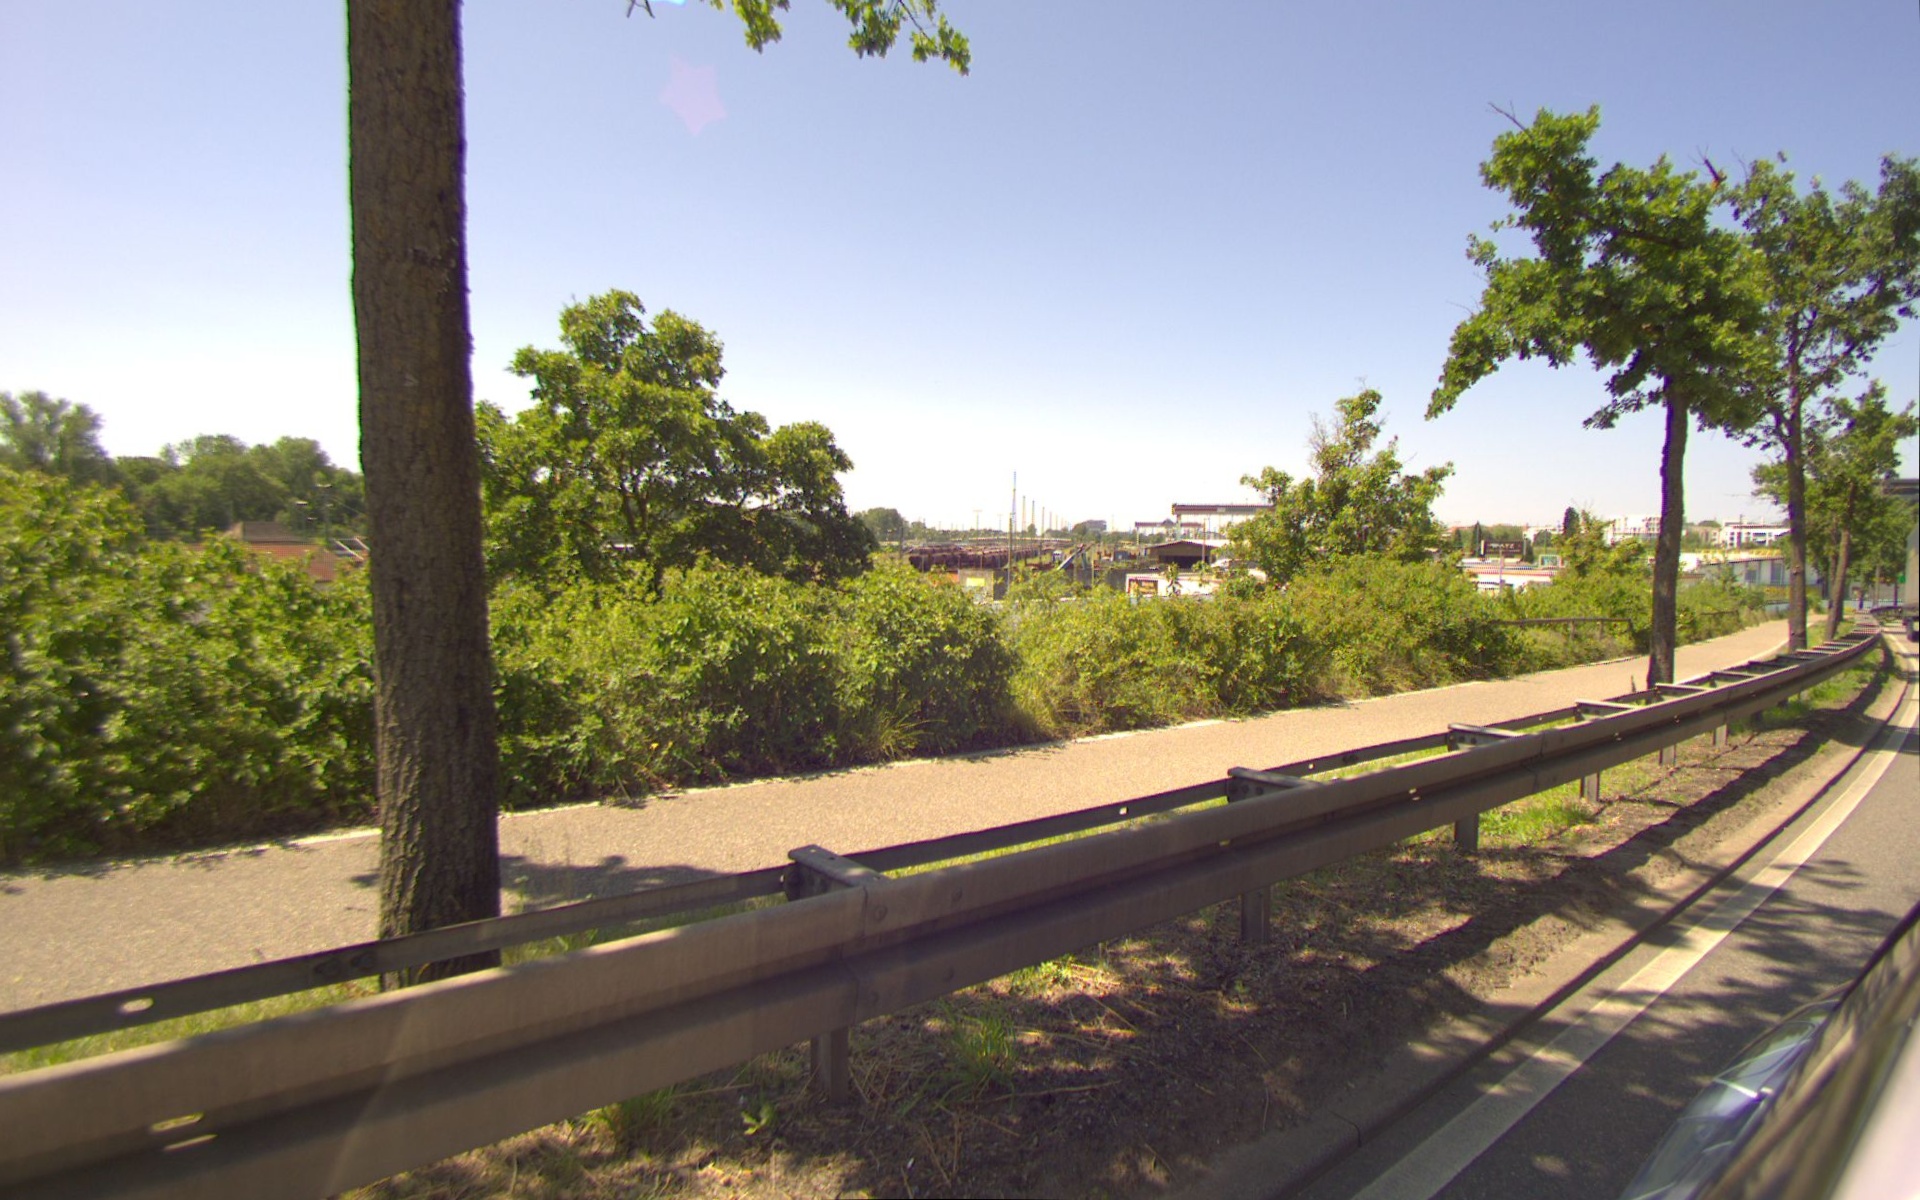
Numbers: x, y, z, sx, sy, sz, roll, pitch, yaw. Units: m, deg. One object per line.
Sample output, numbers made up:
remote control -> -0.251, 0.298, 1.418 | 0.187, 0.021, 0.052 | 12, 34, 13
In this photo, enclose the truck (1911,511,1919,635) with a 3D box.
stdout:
truck -> 33.423, -0.912, 32.974 | 3.060, 4.223, 16.657 | 0, 1, 42
